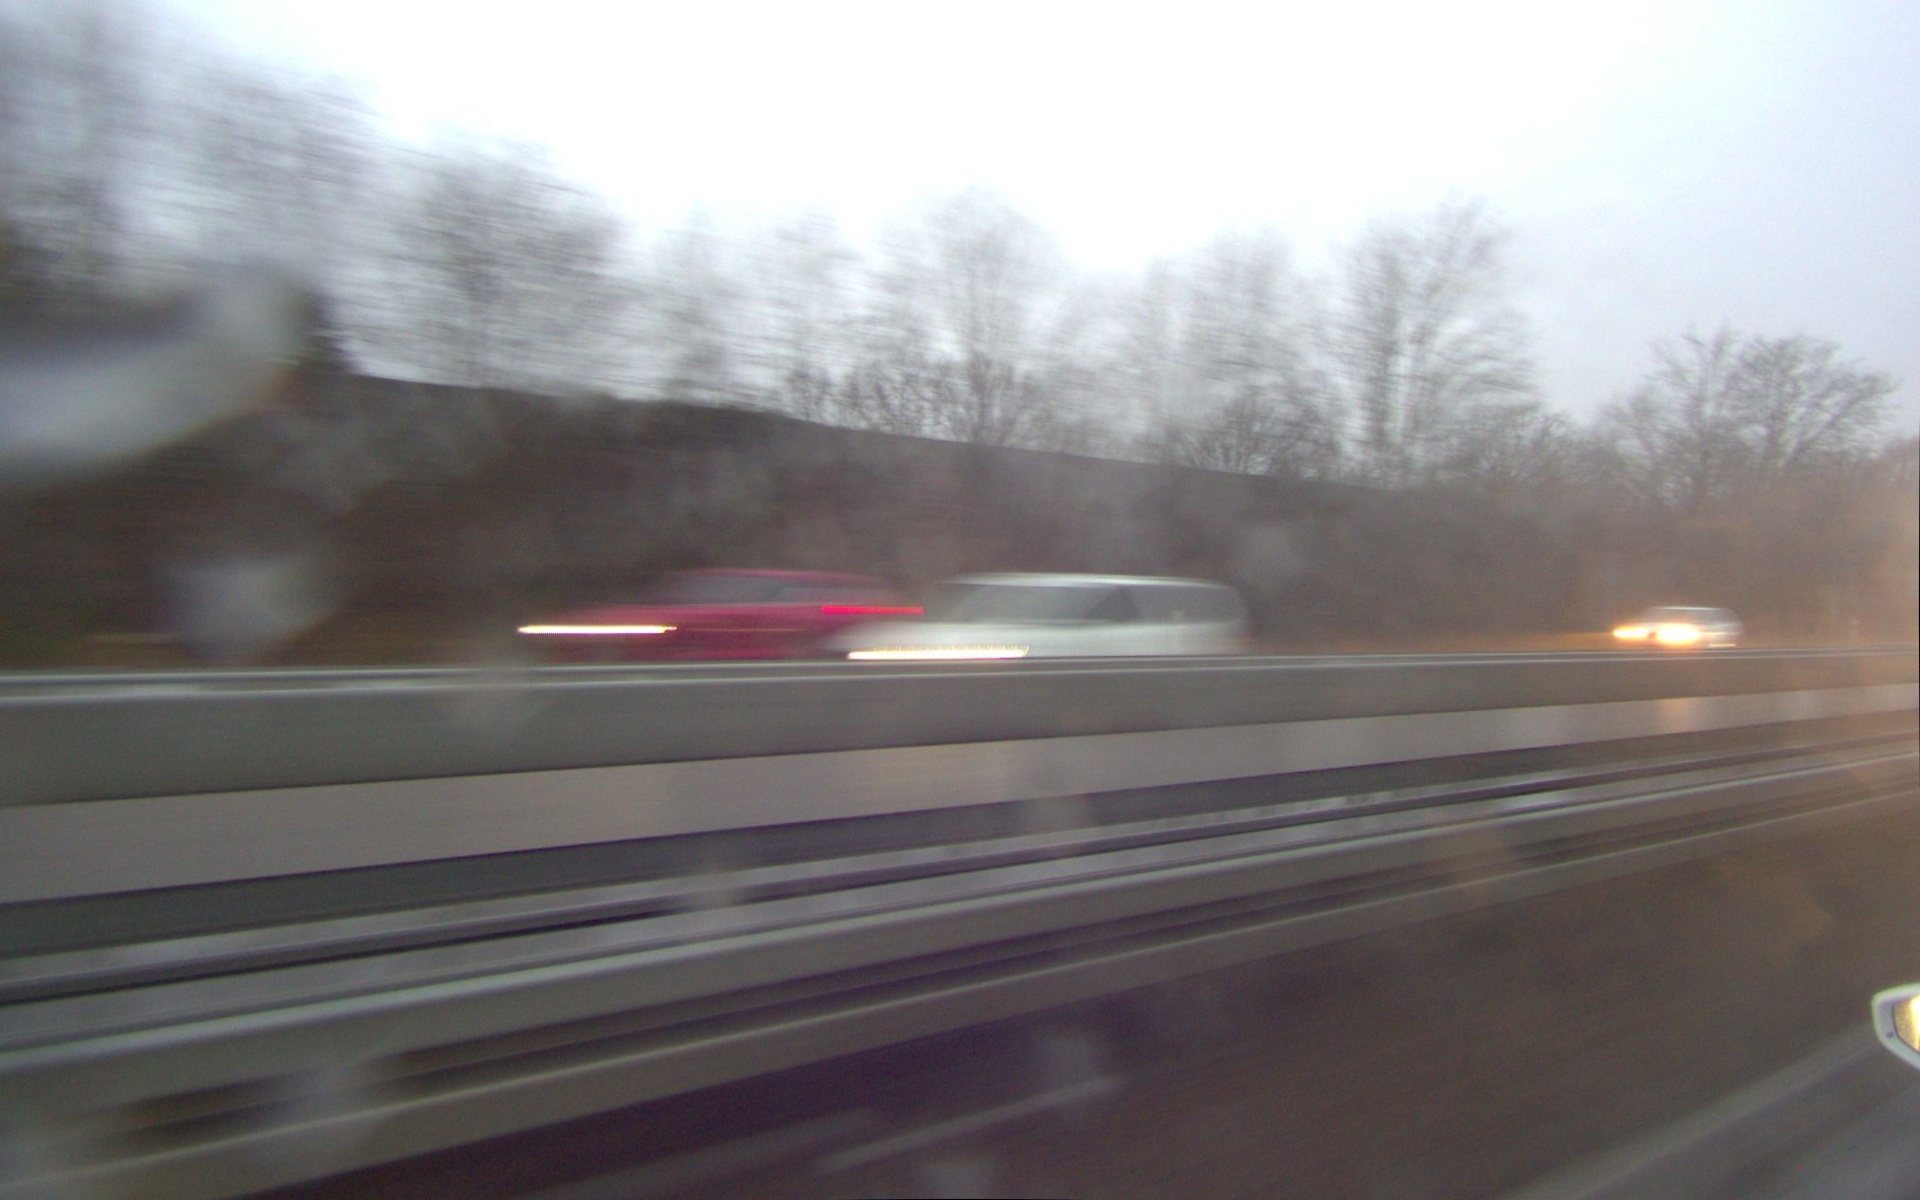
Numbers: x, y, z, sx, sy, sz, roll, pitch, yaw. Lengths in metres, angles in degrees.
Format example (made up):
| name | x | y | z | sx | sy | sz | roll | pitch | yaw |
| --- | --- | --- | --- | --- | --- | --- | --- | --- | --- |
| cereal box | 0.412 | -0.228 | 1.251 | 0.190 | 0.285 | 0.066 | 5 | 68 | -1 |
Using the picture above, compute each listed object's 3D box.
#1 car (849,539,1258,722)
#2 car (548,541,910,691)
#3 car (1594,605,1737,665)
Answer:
| name | x | y | z | sx | sy | sz | roll | pitch | yaw |
| --- | --- | --- | --- | --- | --- | --- | --- | --- | --- |
| car | 1.215 | 0.346 | 12.242 | 4.731 | 1.857 | 1.874 | 2 | 1 | -30 |
| car | -3.272 | 0.236 | 14.498 | 4.731 | 1.857 | 1.871 | 2 | 1 | -30 |
| car | 20.468 | 1.010 | 29.109 | 4.066 | 1.560 | 1.853 | 2 | 1 | -31 |
